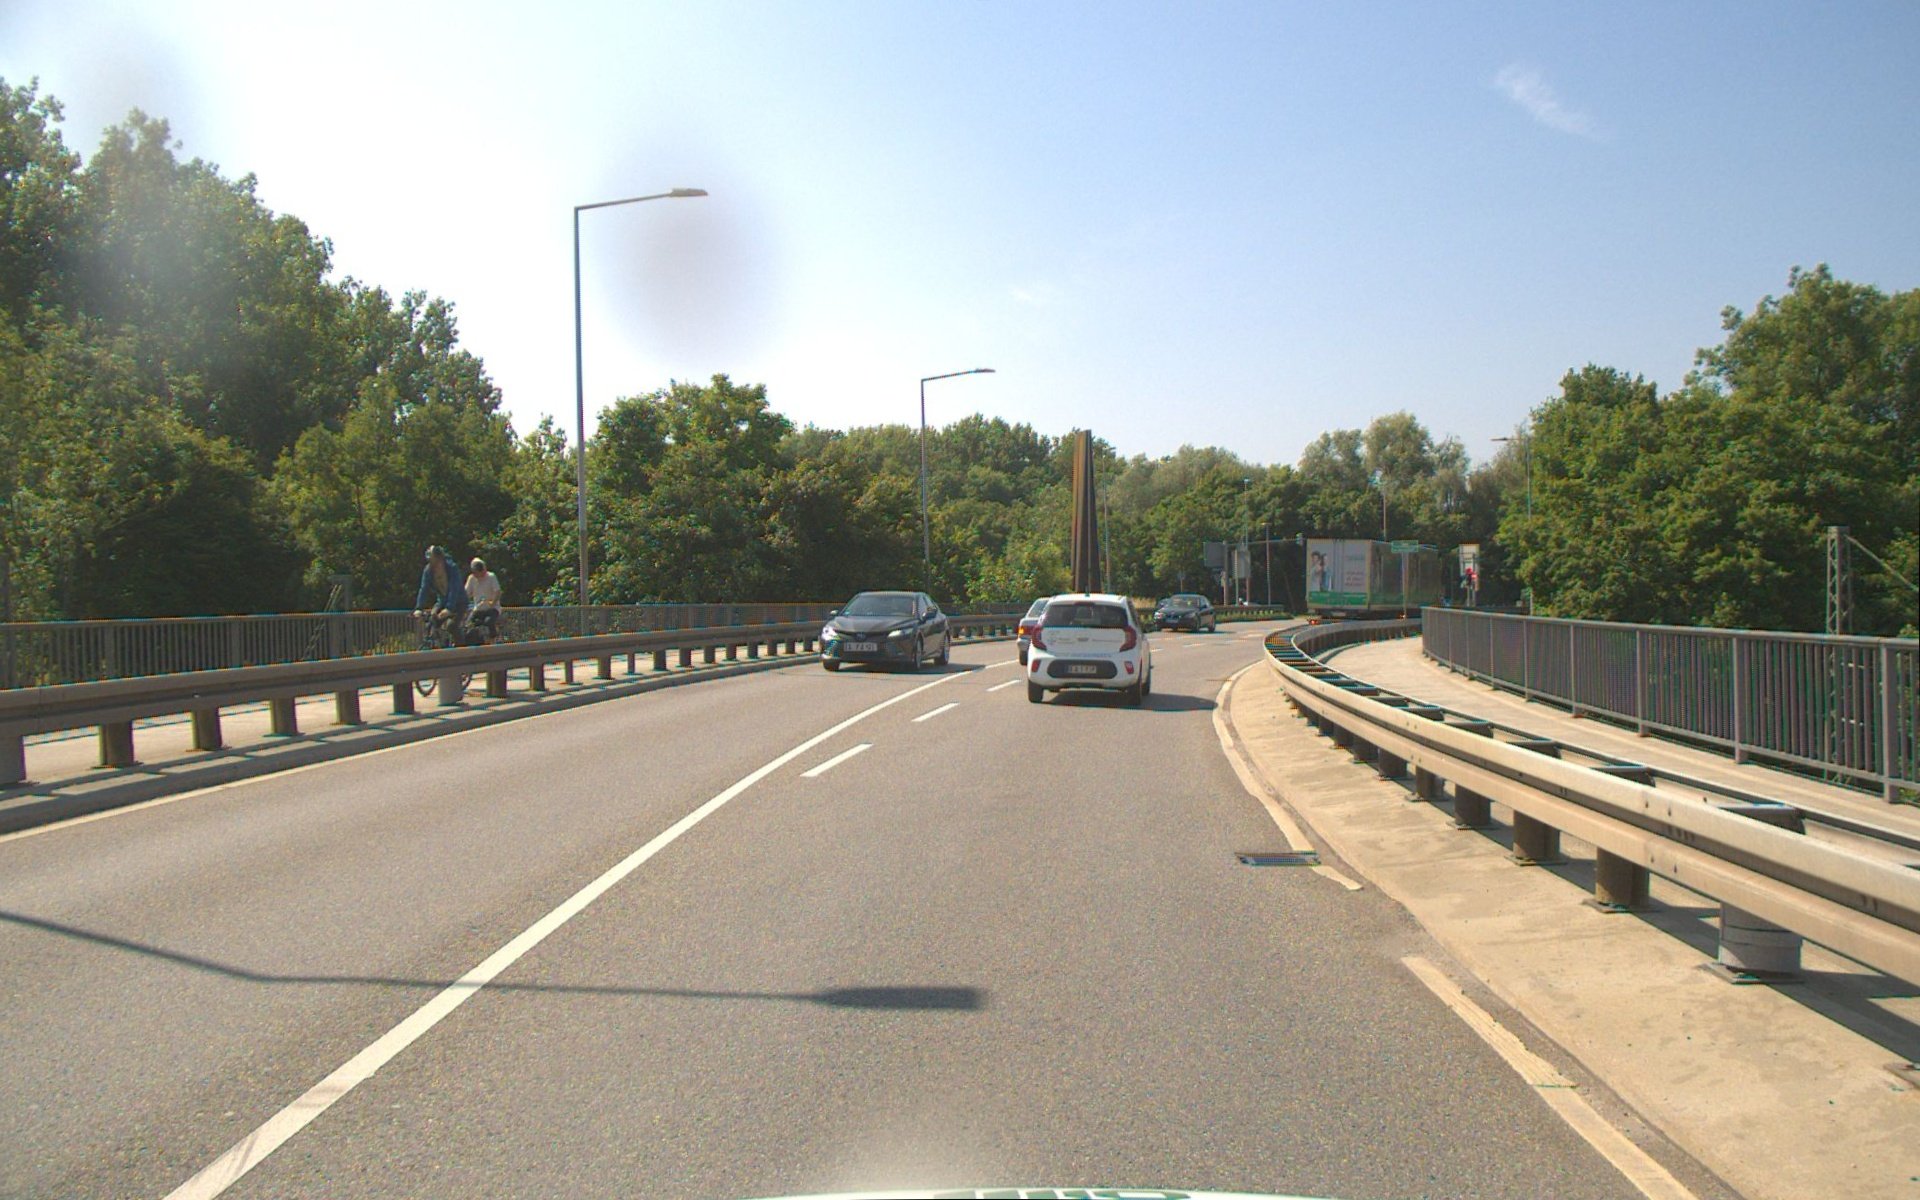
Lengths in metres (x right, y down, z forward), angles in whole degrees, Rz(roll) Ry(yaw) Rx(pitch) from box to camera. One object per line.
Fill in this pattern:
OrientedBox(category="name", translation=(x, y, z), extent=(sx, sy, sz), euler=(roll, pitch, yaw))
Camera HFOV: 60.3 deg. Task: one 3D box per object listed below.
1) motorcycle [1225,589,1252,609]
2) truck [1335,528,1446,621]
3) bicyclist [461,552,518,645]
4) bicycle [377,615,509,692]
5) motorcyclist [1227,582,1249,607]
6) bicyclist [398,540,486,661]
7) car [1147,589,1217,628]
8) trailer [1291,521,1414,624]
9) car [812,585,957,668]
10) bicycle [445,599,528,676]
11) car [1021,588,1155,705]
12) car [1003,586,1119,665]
OrientedBox(category="motorcycle", translation=(21.731, -0.052, 129.139), extent=(0.890, 1.556, 1.956), euler=(2, -1, -37))
OrientedBox(category="truck", translation=(19.404, -1.107, 74.204), extent=(3.196, 3.823, 8.364), euler=(3, 1, 25))
OrientedBox(category="bicyclist", translation=(-7.062, -0.016, 24.860), extent=(0.478, 1.352, 0.947), euler=(1, -1, 5))
OrientedBox(category="bicycle", translation=(-6.734, 0.679, 21.661), extent=(0.908, 0.906, 1.969), euler=(1, 1, 7))
OrientedBox(category="motorcyclist", translation=(21.729, -0.416, 129.169), extent=(0.883, 1.903, 1.445), euler=(2, -1, -37))
OrientedBox(category="bicyclist", translation=(-6.703, 0.010, 21.444), extent=(0.646, 1.522, 1.017), euler=(1, -1, 11))
OrientedBox(category="car", translation=(9.073, 0.316, 67.336), extent=(1.817, 1.467, 4.516), euler=(1, 1, 21))
OrientedBox(category="trailer", translation=(15.974, -1.092, 66.936), extent=(3.161, 3.823, 7.818), euler=(3, 1, 25))
OrientedBox(category="car", translation=(-1.361, 0.460, 32.000), extent=(1.779, 1.455, 4.868), euler=(0, 1, 10))
OrientedBox(category="bicycle", translation=(-7.090, 0.542, 24.859), extent=(0.562, 1.065, 1.711), euler=(-2, 1, 6))
OrientedBox(category="car", translation=(1.952, 0.618, 24.281), extent=(1.665, 1.520, 4.003), euler=(2, 0, 8))
OrientedBox(category="car", translation=(2.222, 0.490, 35.106), extent=(1.897, 1.512, 4.904), euler=(1, 0, 10))
